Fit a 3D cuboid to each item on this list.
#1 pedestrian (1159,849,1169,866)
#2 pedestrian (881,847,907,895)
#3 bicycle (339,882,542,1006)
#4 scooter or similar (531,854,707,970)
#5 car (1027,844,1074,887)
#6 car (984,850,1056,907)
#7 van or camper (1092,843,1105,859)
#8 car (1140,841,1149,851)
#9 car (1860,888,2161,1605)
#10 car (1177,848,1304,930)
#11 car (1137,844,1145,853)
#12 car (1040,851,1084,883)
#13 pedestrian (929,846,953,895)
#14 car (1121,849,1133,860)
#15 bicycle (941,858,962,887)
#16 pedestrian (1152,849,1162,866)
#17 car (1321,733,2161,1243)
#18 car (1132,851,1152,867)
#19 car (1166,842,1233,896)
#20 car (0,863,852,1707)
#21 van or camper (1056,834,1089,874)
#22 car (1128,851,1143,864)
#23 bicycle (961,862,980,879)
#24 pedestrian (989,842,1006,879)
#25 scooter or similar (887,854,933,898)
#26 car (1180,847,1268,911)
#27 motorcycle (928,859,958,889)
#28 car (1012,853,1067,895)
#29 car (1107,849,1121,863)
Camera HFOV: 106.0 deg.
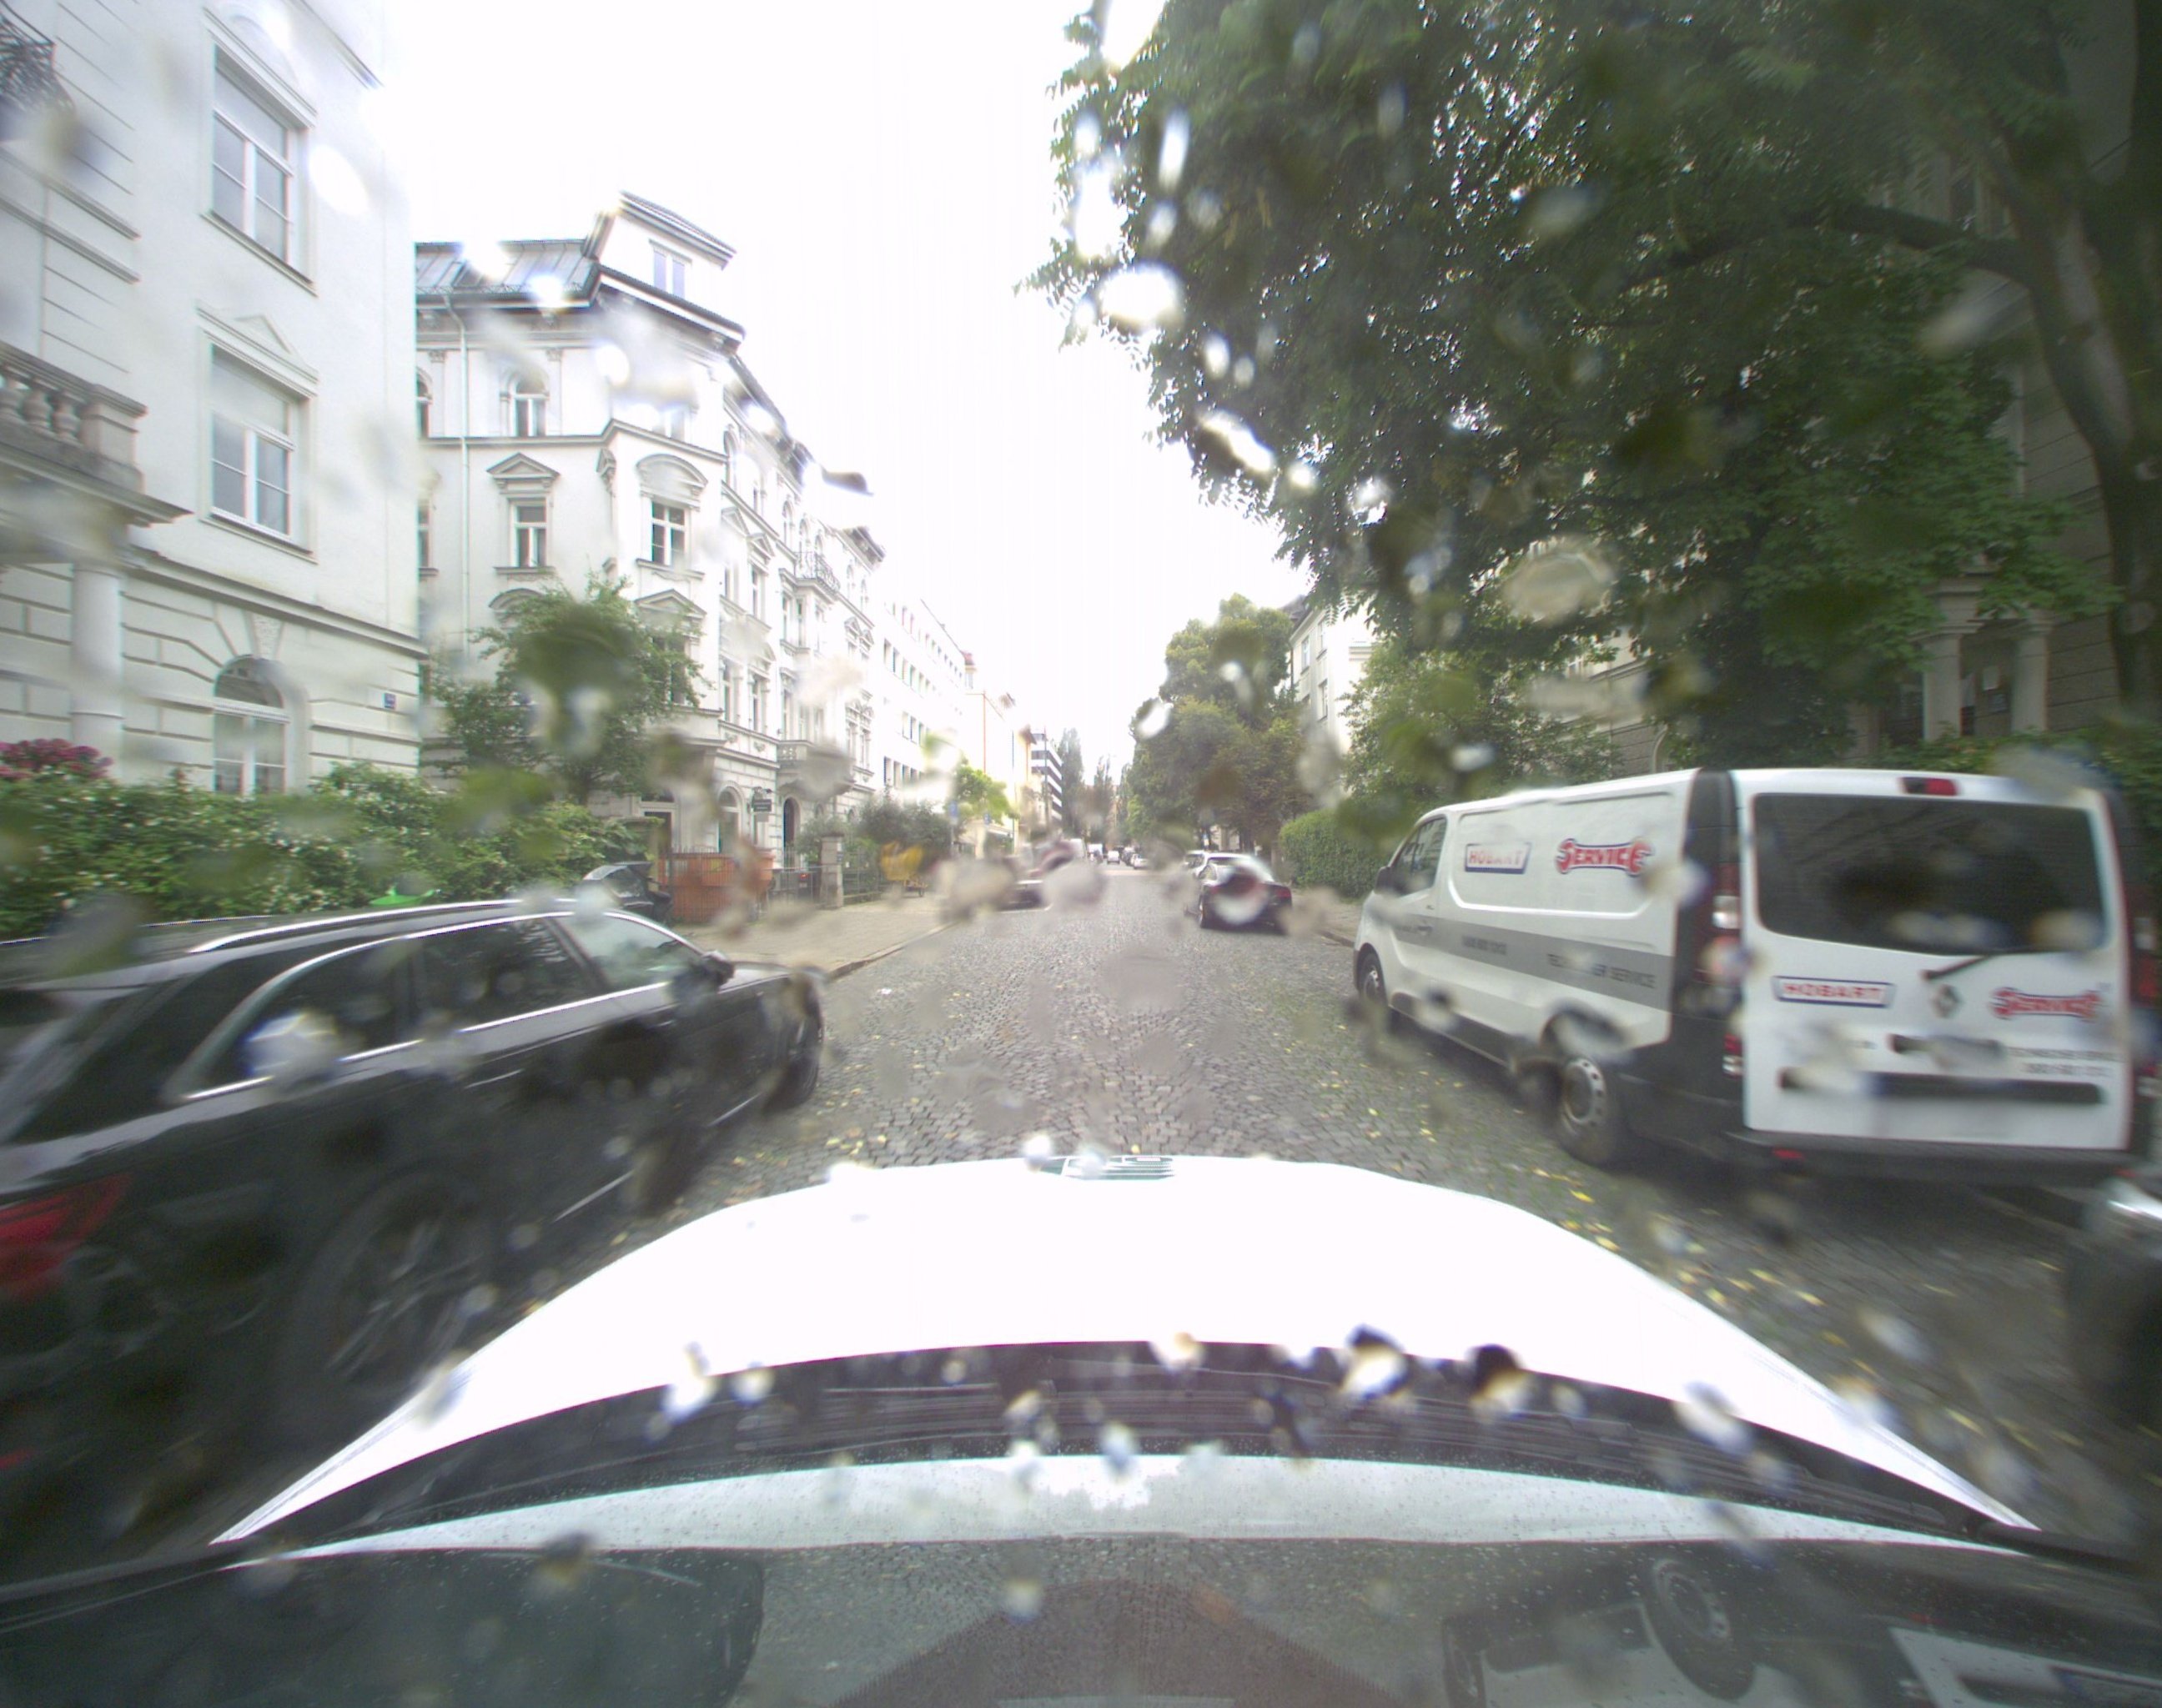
[{"bbox_3d":[9.859,0.401,96.797,0.857,2.013,0.986,-1,0,-15],"label":"pedestrian"},{"bbox_3d":[-6.676,0.612,29.079,0.715,1.687,0.695,-1,0,1],"label":"pedestrian"},{"bbox_3d":[-6.915,0.909,8.958,0.574,1.122,2.051,-1,0,1],"label":"bicycle"},{"bbox_3d":[-6.447,0.734,11.625,0.938,1.441,2.657,1,0,1],"label":"scooter or similar"},{"bbox_3d":[-1.368,0.498,38.524,1.866,1.776,4.123,-4,0,1],"label":"car"},{"bbox_3d":[-1.839,0.707,25.934,1.867,1.580,4.255,-3,0,0],"label":"car"},{"bbox_3d":[3.060,-0.480,143.145,2.247,2.742,5.101,0,0,2],"label":"van or camper"},{"bbox_3d":[14.172,-1.754,182.215,1.985,2.014,4.003,0,0,3],"label":"car"},{"bbox_3d":[3.146,0.881,0.196,1.829,1.490,4.425,2,0,3],"label":"car"},{"bbox_3d":[3.332,0.665,17.881,1.867,1.503,4.511,2,0,0],"label":"car"},{"bbox_3d":[15.132,-1.367,206.757,1.985,2.014,4.003,0,0,3],"label":"car"},{"bbox_3d":[-0.958,0.649,43.615,1.864,1.580,4.214,1,0,5],"label":"car"},{"bbox_3d":[-4.897,0.572,28.568,0.690,1.687,0.720,-1,0,1],"label":"pedestrian"},{"bbox_3d":[8.100,0.069,143.362,1.985,2.013,4.003,0,0,3],"label":"car"},{"bbox_3d":[-5.771,0.798,36.158,0.657,1.221,2.078,-1,0,-16],"label":"bicycle"},{"bbox_3d":[8.993,0.405,96.382,0.857,2.013,0.986,-1,0,-15],"label":"pedestrian"},{"bbox_3d":[3.404,0.517,5.750,1.867,1.928,5.163,2,0,0],"label":"car"},{"bbox_3d":[5.927,0.487,79.463,1.783,1.520,4.003,-1,0,3],"label":"car"},{"bbox_3d":[4.229,0.507,29.702,1.866,1.733,4.595,2,0,2],"label":"car"},{"bbox_3d":[-2.723,0.849,3.580,1.879,1.417,4.410,-4,0,3],"label":"car"},{"bbox_3d":[-0.591,-0.013,58.570,1.985,2.652,4.003,-3,0,3],"label":"van or camper"},{"bbox_3d":[6.693,0.414,100.152,1.783,1.520,4.003,-1,0,3],"label":"car"},{"bbox_3d":[-5.796,0.864,42.785,0.500,0.839,2.093,-1,0,6],"label":"bicycle"},{"bbox_3d":[-4.319,0.331,42.222,0.789,1.917,0.759,0,0,2],"label":"pedestrian"},{"bbox_3d":[-5.963,0.742,28.522,0.937,1.441,2.658,-1,0,2],"label":"scooter or similar"},{"bbox_3d":[3.952,0.638,23.177,1.811,1.580,4.209,2,0,2],"label":"car"},{"bbox_3d":[-5.749,0.812,33.991,0.619,1.196,1.871,0,0,11],"label":"motorcycle"},{"bbox_3d":[-1.551,0.736,31.983,1.867,1.451,4.207,-2,0,0],"label":"car"},{"bbox_3d":[4.759,0.255,117.124,1.985,2.013,4.003,-1,0,3],"label":"car"}]
